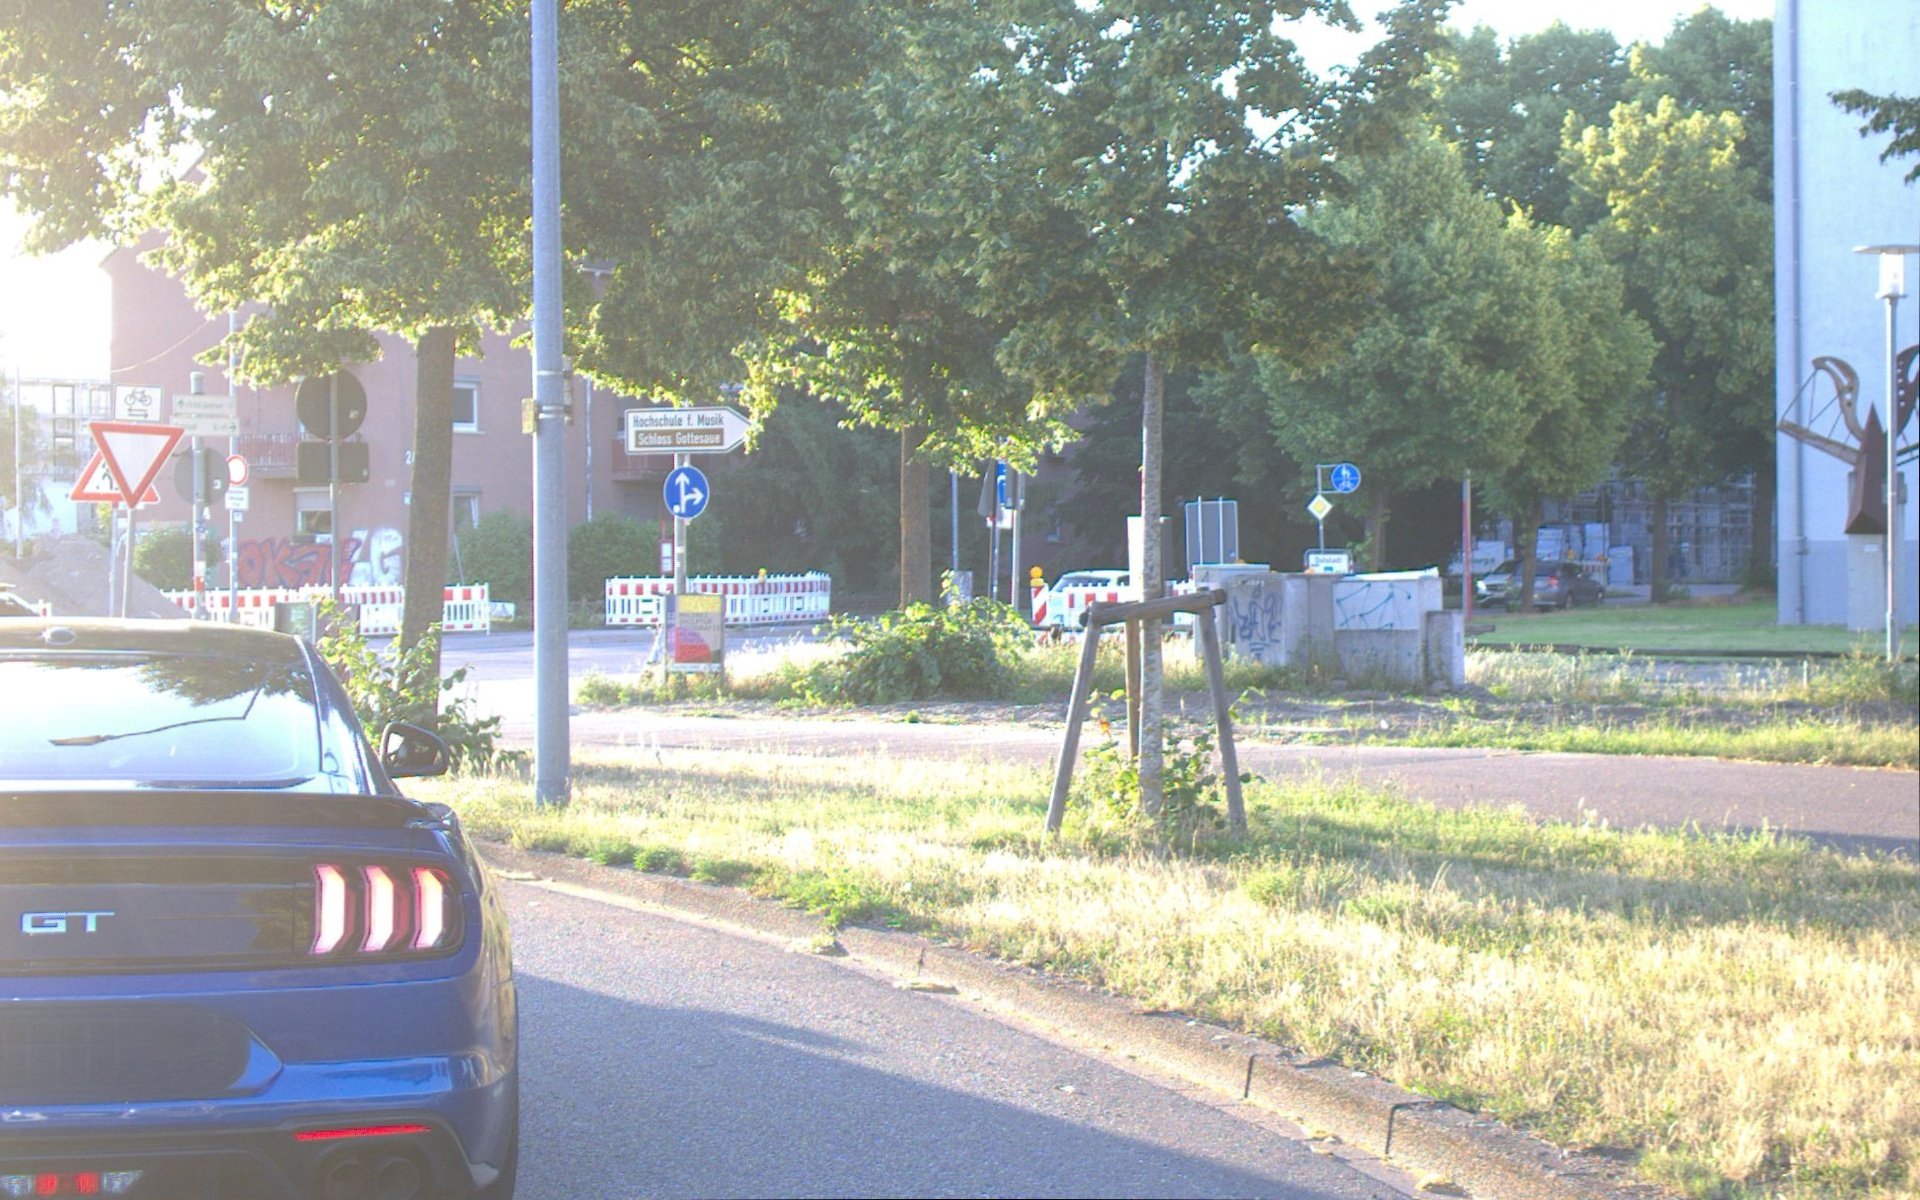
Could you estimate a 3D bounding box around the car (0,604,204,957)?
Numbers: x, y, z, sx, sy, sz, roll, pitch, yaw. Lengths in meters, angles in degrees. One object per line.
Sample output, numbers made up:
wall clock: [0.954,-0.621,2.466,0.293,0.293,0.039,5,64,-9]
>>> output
car: [-5.056,0.721,15.822,1.951,1.422,4.430,1,0,-28]

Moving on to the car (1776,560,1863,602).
car: [29.336,-0.655,117.224,1.879,1.396,3.910,0,1,30]

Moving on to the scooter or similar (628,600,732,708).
scooter or similar: [-3.266,0.626,40.079,1.120,1.234,0.442,0,0,-23]

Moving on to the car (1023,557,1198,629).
car: [3.060,-0.154,69.184,1.879,1.396,3.909,0,1,31]

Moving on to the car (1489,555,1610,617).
car: [15.825,-0.376,92.089,1.954,1.597,4.071,1,1,29]

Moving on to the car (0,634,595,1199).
car: [-2.320,0.785,8.520,1.950,1.337,4.672,0,0,-17]
